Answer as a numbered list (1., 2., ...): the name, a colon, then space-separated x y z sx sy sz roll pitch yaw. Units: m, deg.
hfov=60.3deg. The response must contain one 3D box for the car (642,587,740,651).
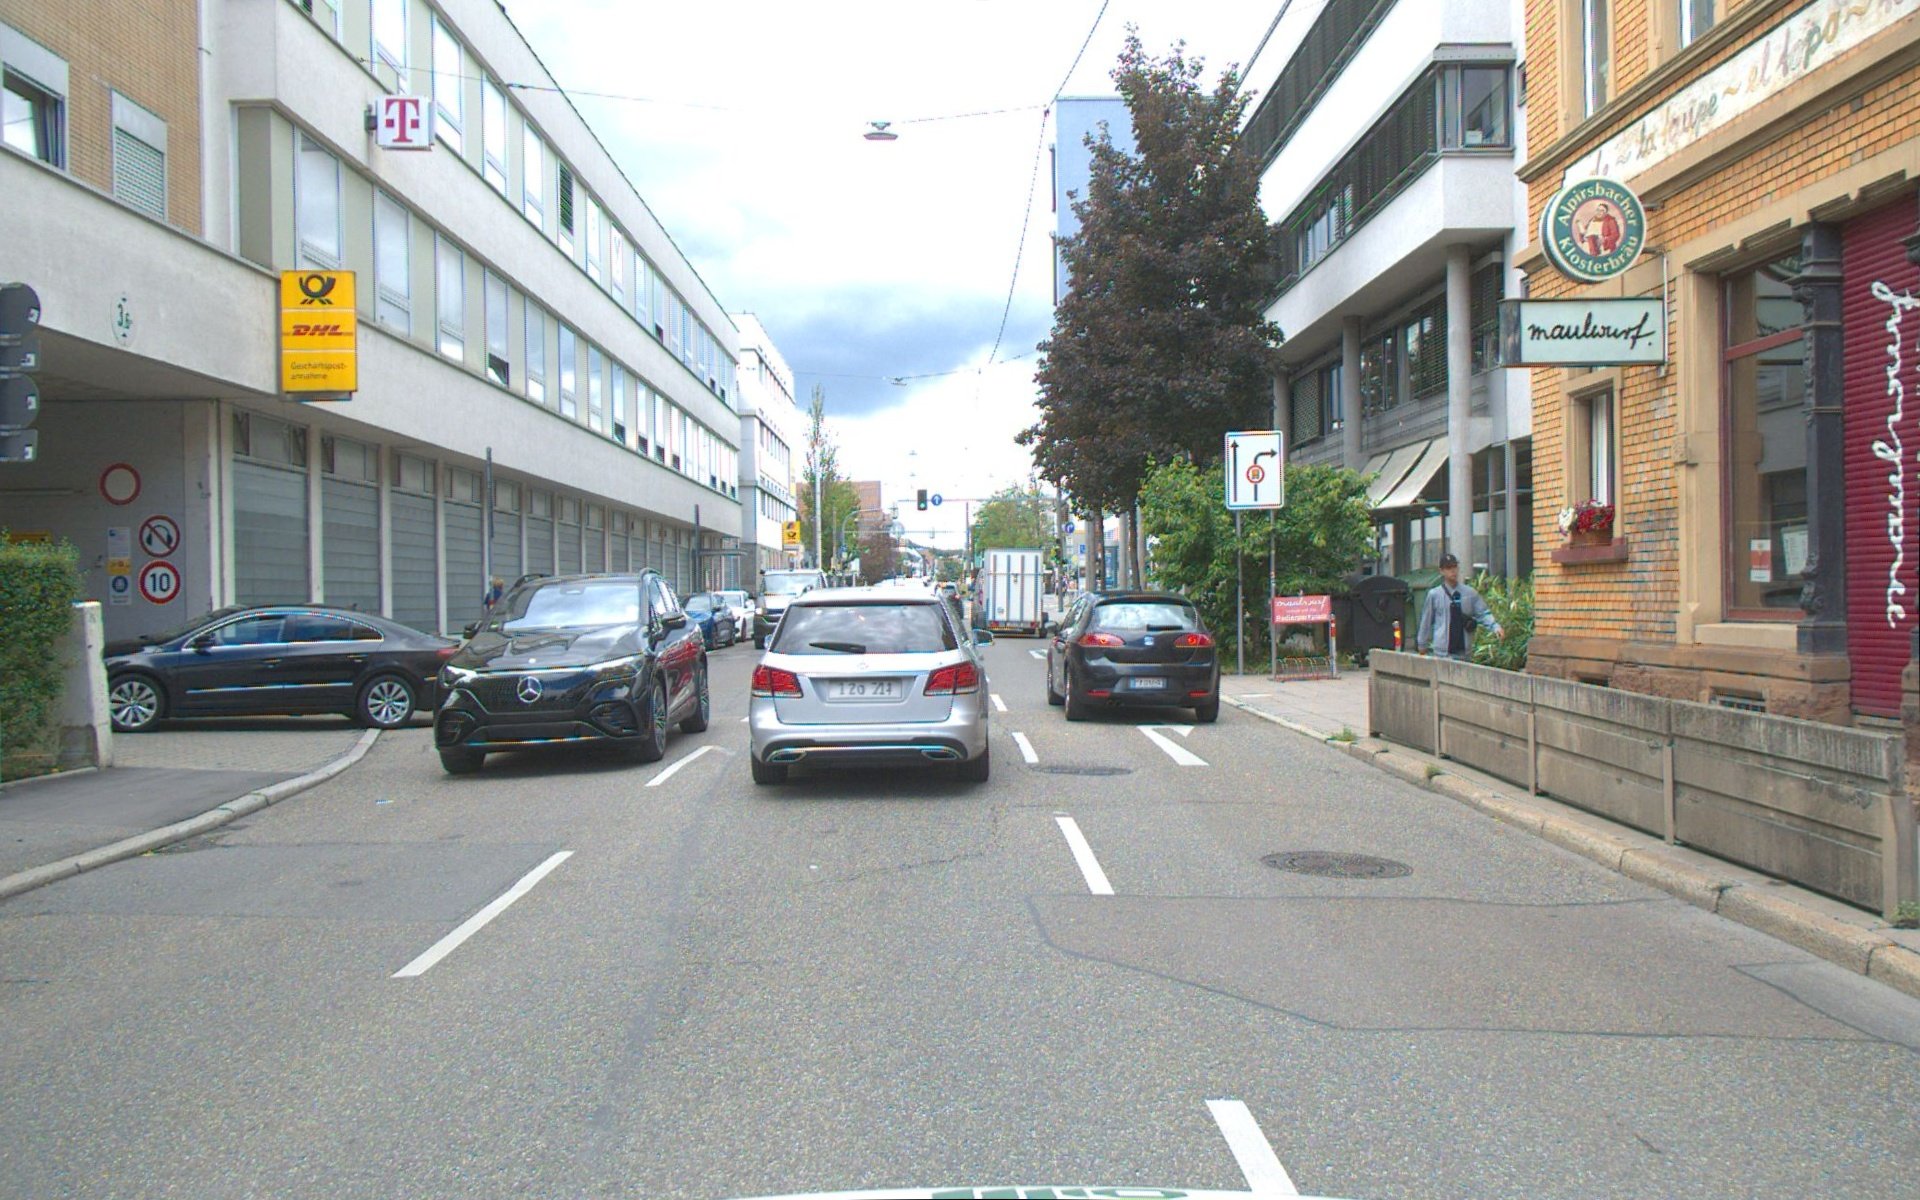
1. car: -6.922 0.448 42.967 1.953 1.543 4.174 -1 1 -2

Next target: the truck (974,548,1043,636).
1. truck: 1.495 -0.255 51.754 1.953 2.653 3.259 -1 0 -2

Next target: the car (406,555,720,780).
1. car: -3.610 0.534 15.954 1.953 1.769 4.552 -3 1 -2

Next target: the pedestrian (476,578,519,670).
1. pedestrian: -9.228 0.472 33.026 0.629 1.800 0.809 -1 0 -1

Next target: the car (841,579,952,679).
1. car: -1.075 0.445 28.535 1.767 1.580 3.736 -1 1 -2

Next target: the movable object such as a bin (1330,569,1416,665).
1. movable object such as a bin: 6.768 0.266 27.176 0.924 1.496 1.445 -3 0 -3

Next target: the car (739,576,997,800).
1. car: -0.681 0.588 13.317 1.767 1.518 3.736 -1 1 -2

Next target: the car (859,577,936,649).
1. car: -1.483 0.281 39.857 1.767 1.629 3.736 0 0 -2

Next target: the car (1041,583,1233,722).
1. car: 1.993 0.542 19.629 1.730 1.458 3.827 -1 1 -2

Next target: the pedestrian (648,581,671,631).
1. pedestrian: -10.147 0.199 55.836 0.642 1.651 0.681 -1 0 0

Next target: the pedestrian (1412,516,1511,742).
1. pedestrian: 4.655 0.261 15.393 0.679 2.049 0.676 -1 0 -2

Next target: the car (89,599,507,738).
1. car: -7.718 0.723 19.397 4.353 1.389 1.767 -1 1 -31

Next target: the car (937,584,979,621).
1. car: -0.124 0.098 73.845 1.767 1.629 3.736 0 0 -2

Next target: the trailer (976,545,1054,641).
1. trailer: 1.564 -0.221 49.006 1.953 2.653 5.348 -1 0 -2

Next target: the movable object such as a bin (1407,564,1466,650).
1. movable object such as a bin: 8.813 0.130 30.598 0.804 1.516 0.732 -3 -1 0

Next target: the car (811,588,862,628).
1. car: -4.817 0.270 64.751 1.733 1.438 4.174 -2 1 -2

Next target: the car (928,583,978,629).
1. car: -0.287 0.196 61.304 1.767 1.629 3.736 0 0 -2

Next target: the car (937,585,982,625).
1. car: -0.037 0.188 68.619 1.767 1.629 3.736 0 0 -2

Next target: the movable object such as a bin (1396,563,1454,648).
1. movable object such as a bin: 8.807 0.107 31.356 0.804 1.530 0.732 -3 -1 0

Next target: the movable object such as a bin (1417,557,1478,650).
1. movable object such as a bin: 8.793 0.071 29.843 0.804 1.617 0.732 -3 -1 0

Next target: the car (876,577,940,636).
1. car: -1.480 0.158 47.576 1.767 1.629 3.736 0 0 -2

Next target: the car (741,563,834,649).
1. car: -4.461 0.121 43.416 1.953 2.048 4.901 -2 1 -2

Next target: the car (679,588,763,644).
1. car: -6.984 0.436 48.672 1.953 1.543 4.174 -1 1 -2
